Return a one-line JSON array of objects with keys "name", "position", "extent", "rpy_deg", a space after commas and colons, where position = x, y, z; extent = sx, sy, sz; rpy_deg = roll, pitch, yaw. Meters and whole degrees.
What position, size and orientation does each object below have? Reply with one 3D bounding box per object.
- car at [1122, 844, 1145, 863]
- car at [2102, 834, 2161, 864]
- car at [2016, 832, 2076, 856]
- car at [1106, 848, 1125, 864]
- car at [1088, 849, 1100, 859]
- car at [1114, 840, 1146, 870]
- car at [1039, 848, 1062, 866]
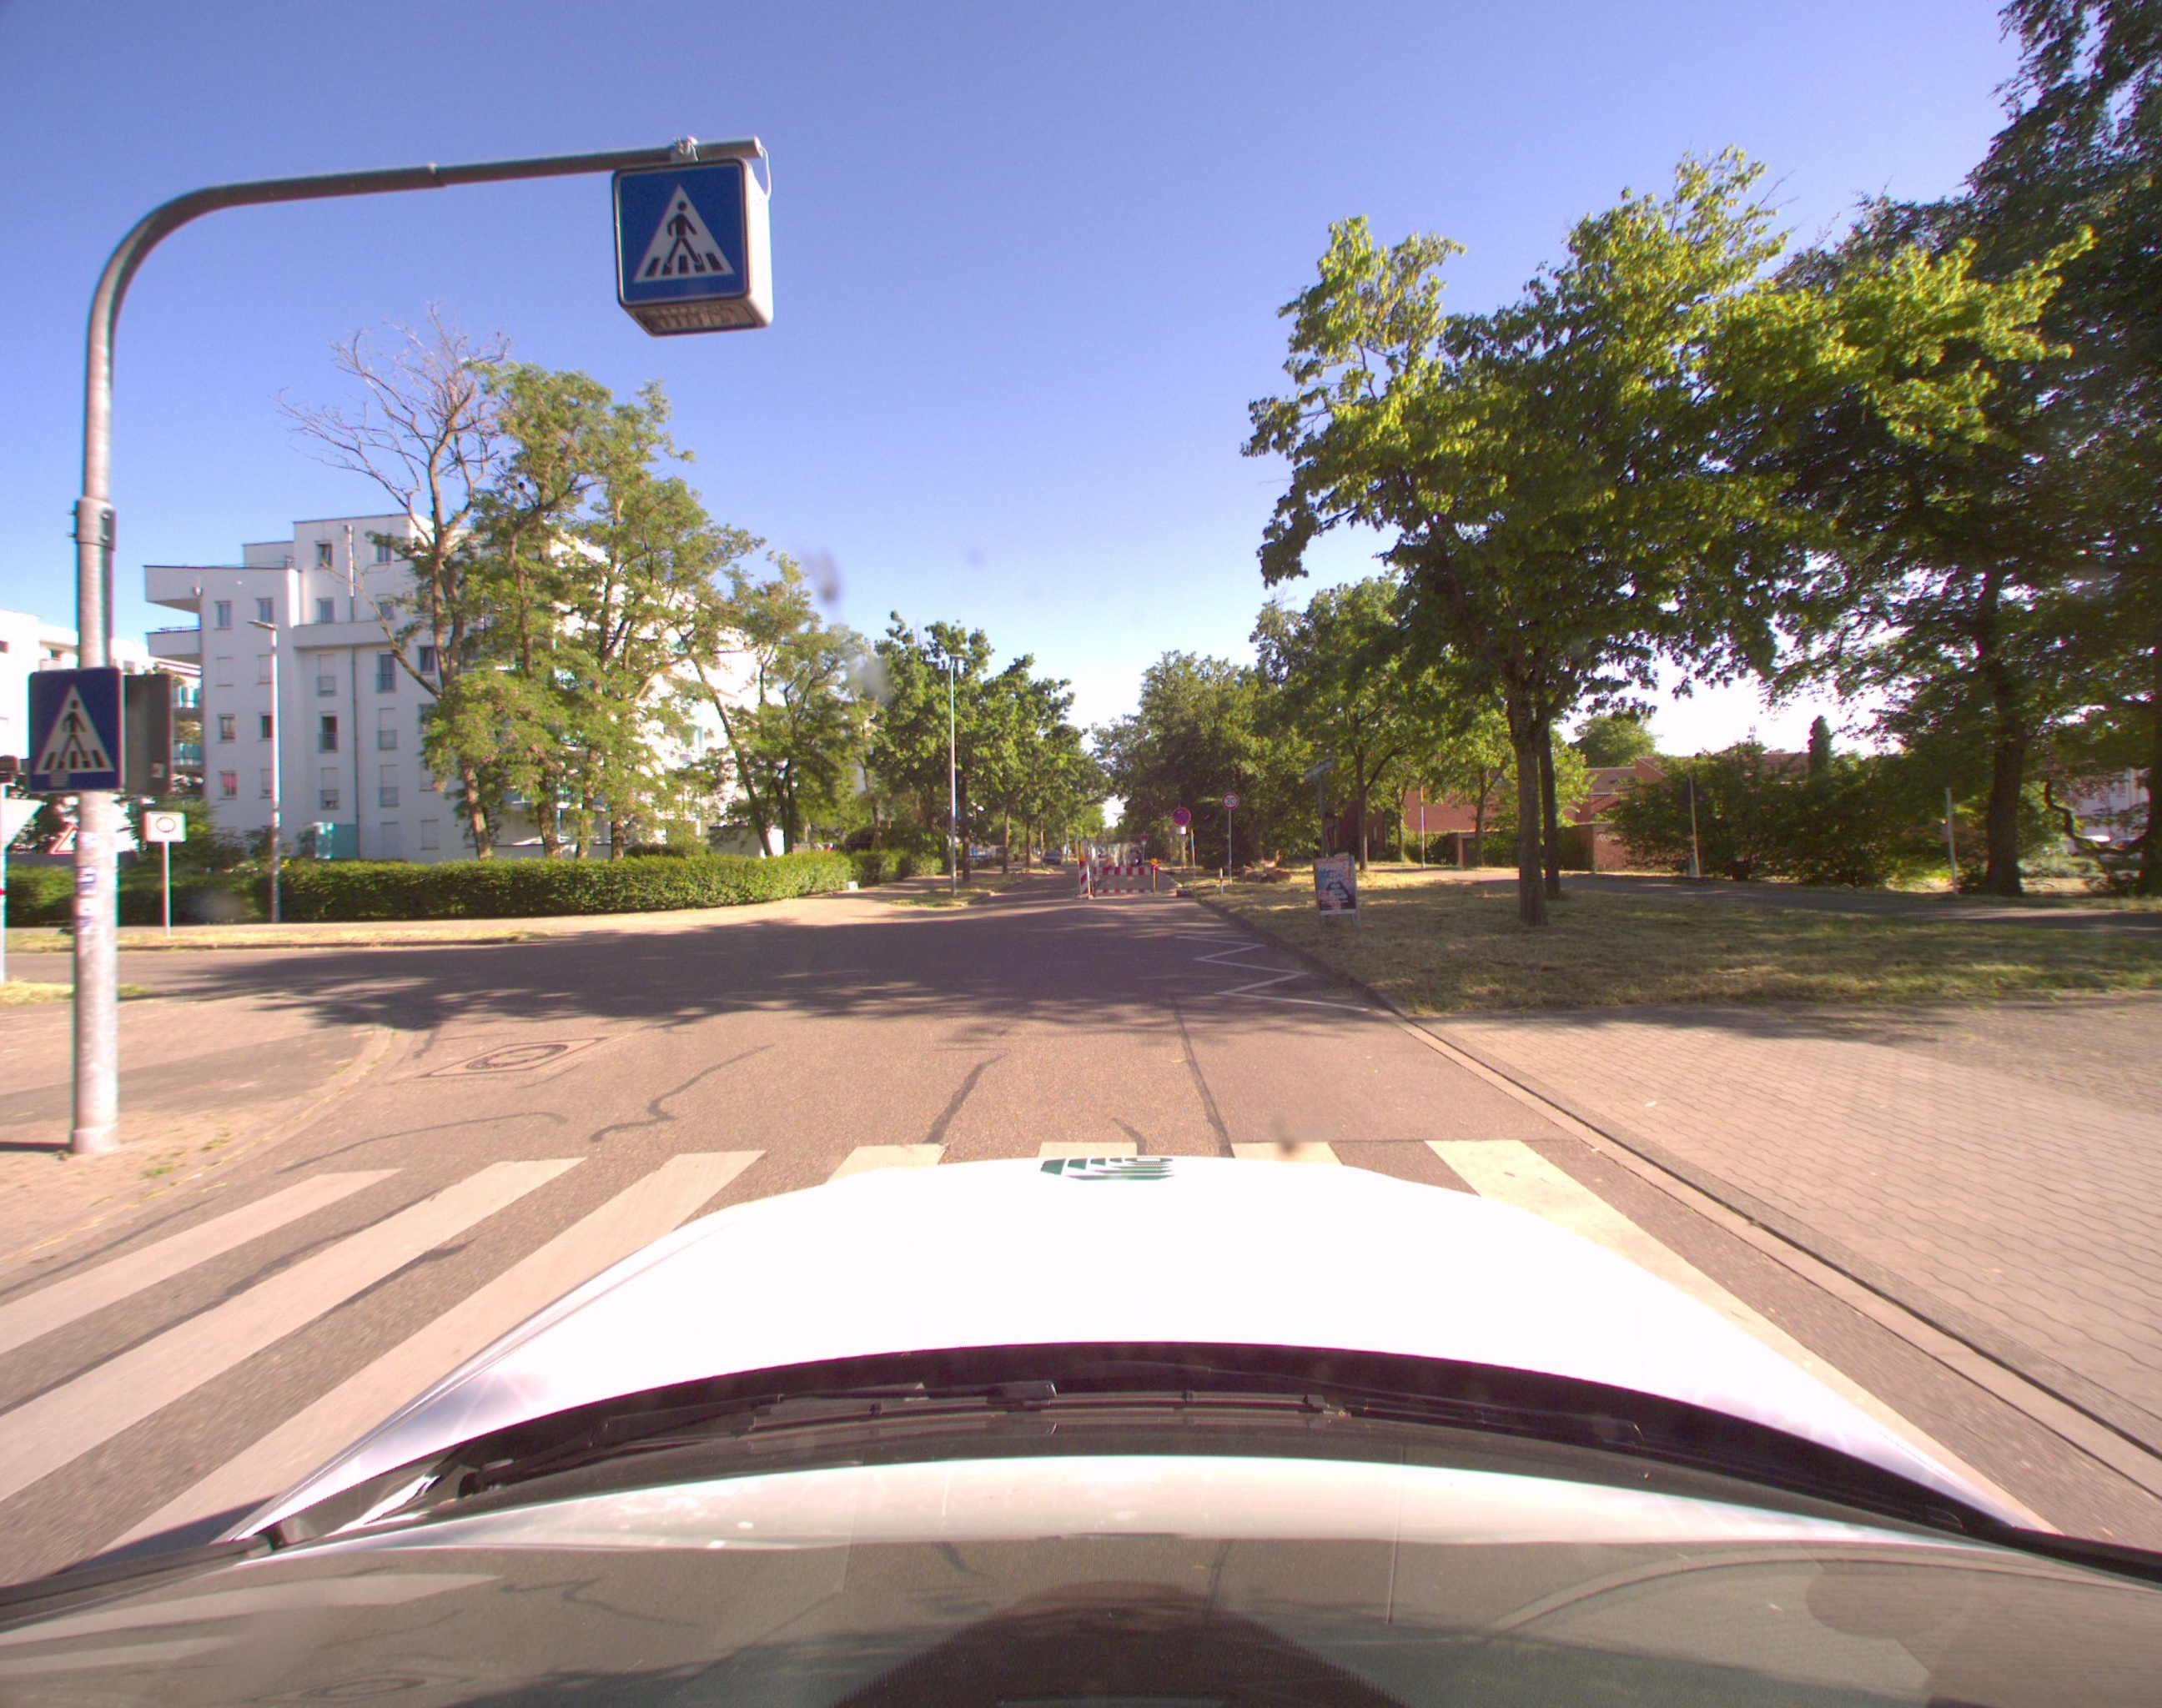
[{"name": "car", "position": [4.791, -0.064, 74.920], "extent": [1.986, 1.716, 4.002], "rpy_deg": [-1, 0, 2]}, {"name": "car", "position": [57.185, -0.278, 43.924], "extent": [1.714, 1.555, 3.489], "rpy_deg": [-1, 0, 35]}, {"name": "car", "position": [63.612, -0.663, 53.747], "extent": [1.714, 1.555, 3.489], "rpy_deg": [-1, 0, 35]}, {"name": "car", "position": [3.819, 0.160, 90.718], "extent": [1.986, 1.716, 4.002], "rpy_deg": [-1, 0, 2]}, {"name": "car", "position": [2.311, -0.013, 143.312], "extent": [1.986, 1.716, 4.002], "rpy_deg": [-1, 0, 2]}, {"name": "car", "position": [3.203, 0.053, 54.086], "extent": [1.986, 1.933, 4.002], "rpy_deg": [-1, 0, 2]}, {"name": "car", "position": [-3.039, 0.272, 81.275], "extent": [1.986, 1.716, 4.002], "rpy_deg": [-1, 0, 2]}]
